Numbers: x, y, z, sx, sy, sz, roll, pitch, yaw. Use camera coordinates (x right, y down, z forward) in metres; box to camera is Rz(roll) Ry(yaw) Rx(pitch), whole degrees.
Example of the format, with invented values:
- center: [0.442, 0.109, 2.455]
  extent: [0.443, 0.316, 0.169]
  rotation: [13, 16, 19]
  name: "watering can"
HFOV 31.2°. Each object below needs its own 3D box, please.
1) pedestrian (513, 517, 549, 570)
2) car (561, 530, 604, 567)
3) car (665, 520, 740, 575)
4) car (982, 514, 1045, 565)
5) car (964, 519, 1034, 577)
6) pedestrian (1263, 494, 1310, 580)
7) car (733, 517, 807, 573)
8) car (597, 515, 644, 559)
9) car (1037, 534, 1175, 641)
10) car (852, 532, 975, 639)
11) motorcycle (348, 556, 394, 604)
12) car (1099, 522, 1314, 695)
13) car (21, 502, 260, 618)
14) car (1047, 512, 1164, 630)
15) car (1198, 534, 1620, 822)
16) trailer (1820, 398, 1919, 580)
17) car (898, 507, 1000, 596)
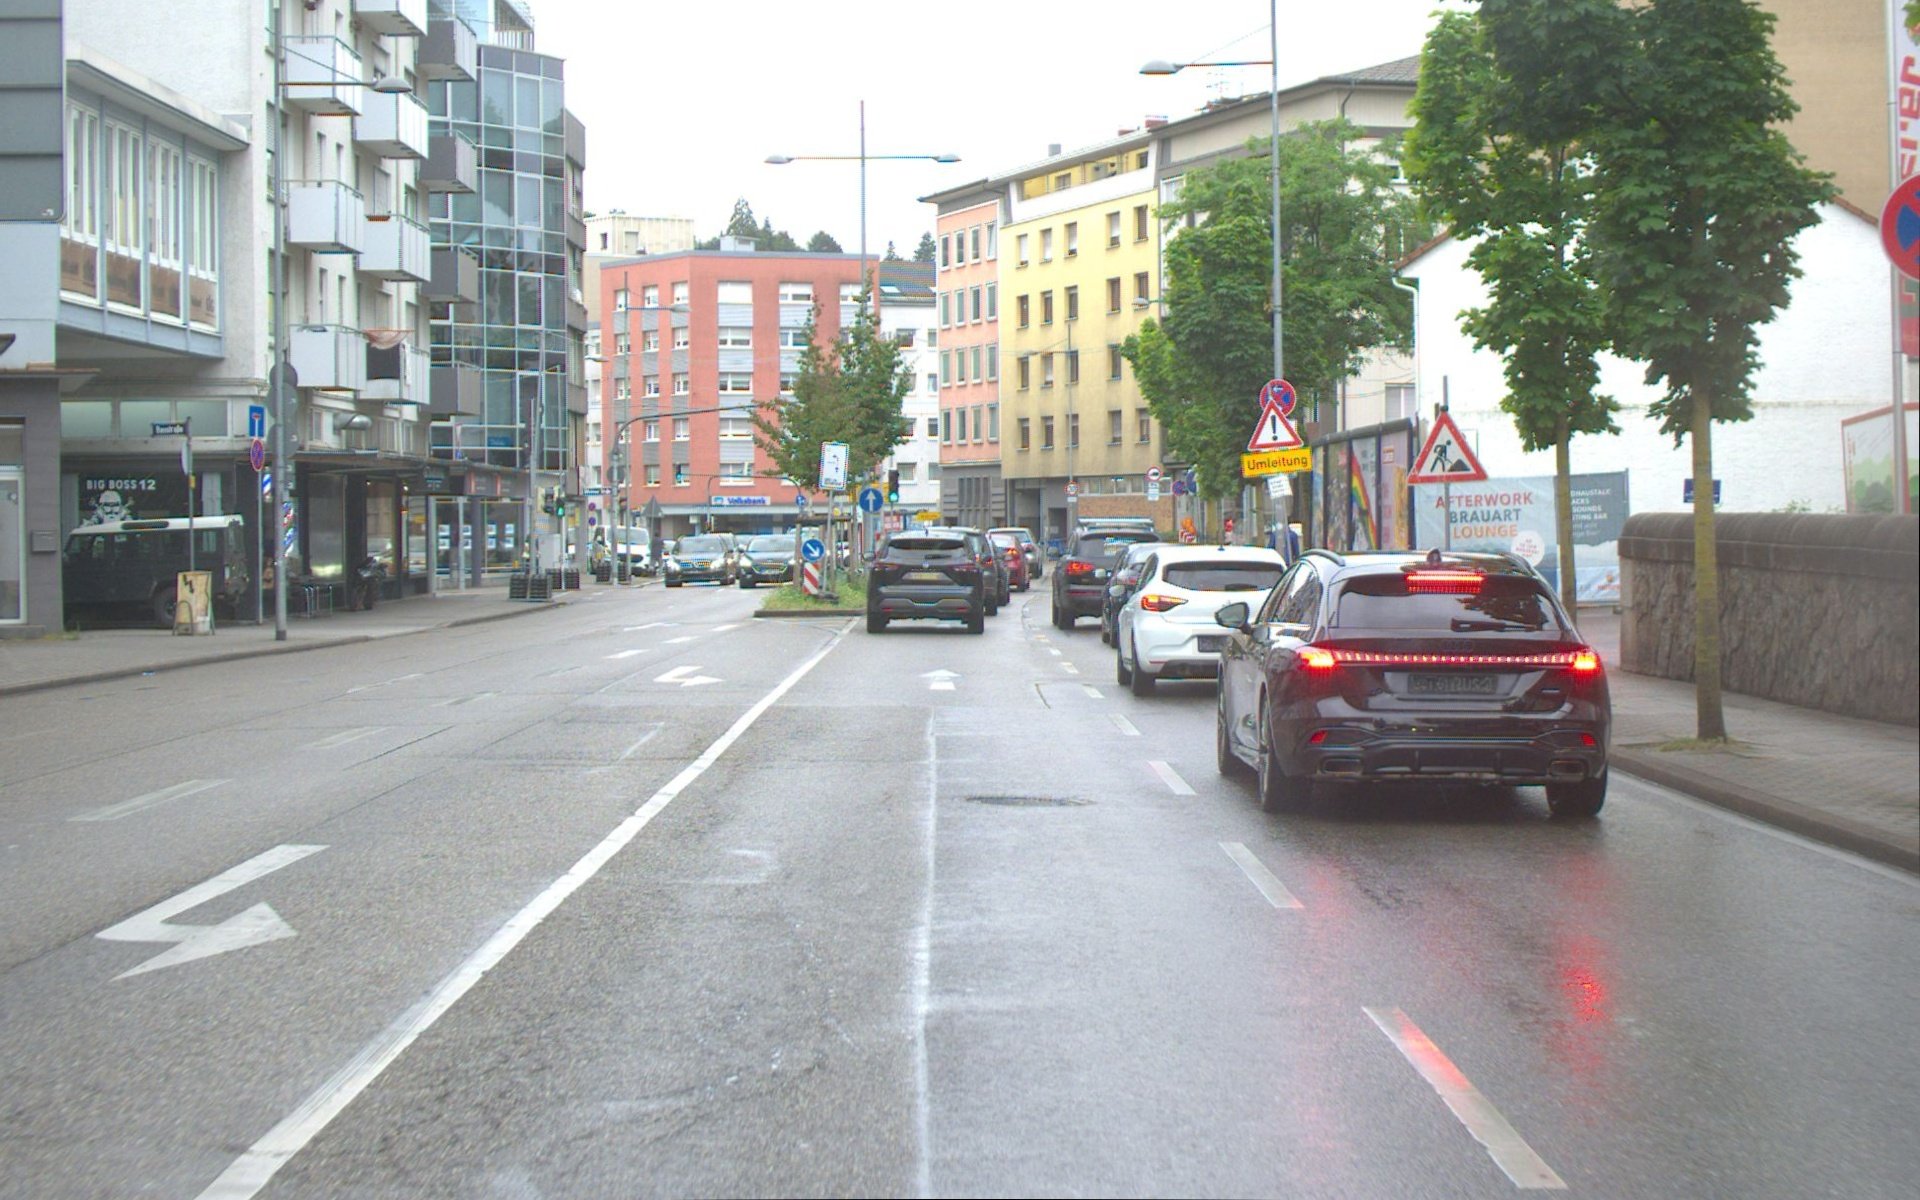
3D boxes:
- center: [-13.231, -1.740, 106.062]
  extent: [0.781, 1.585, 0.763]
  rotation: [-3, 2, -36]
  name: "pedestrian"
- center: [-15.394, -2.104, 140.212]
  extent: [1.455, 1.425, 3.371]
  rotation: [1, 2, -11]
  name: "car"
- center: [-7.558, -1.557, 101.264]
  extent: [1.708, 1.463, 4.829]
  rotation: [-4, 1, 1]
  name: "car"
- center: [1.511, -1.748, 98.348]
  extent: [1.641, 1.376, 3.348]
  rotation: [-2, 1, -1]
  name: "car"
- center: [0.972, -1.325, 86.830]
  extent: [1.641, 1.376, 3.348]
  rotation: [-2, 1, -1]
  name: "car"
- center: [6.753, -1.305, 71.064]
  extent: [0.792, 1.749, 0.871]
  rotation: [-2, 1, 14]
  name: "pedestrian"
- center: [-5.261, -1.550, 95.414]
  extent: [1.720, 1.418, 4.165]
  rotation: [-3, 1, 0]
  name: "car"
- center: [-12.700, -2.356, 128.621]
  extent: [1.549, 1.565, 3.349]
  rotation: [1, 1, -9]
  name: "car"
- center: [2.045, -0.200, 47.248]
  extent: [1.787, 1.395, 3.718]
  rotation: [0, 1, 4]
  name: "car"
- center: [-0.704, -0.260, 54.370]
  extent: [1.823, 1.595, 3.719]
  rotation: [1, 1, 1]
  name: "car"
- center: [-12.532, -0.434, 73.181]
  extent: [0.525, 0.992, 2.136]
  rotation: [1, 1, 2]
  name: "motorcycle"
- center: [2.352, 0.034, 33.659]
  extent: [1.665, 1.391, 3.867]
  rotation: [-5, 2, -1]
  name: "car"
- center: [-14.994, -0.737, 63.008]
  extent: [3.963, 2.027, 1.580]
  rotation: [-1, 1, 1]
  name: "car"
- center: [2.395, -0.510, 56.875]
  extent: [1.830, 1.799, 3.719]
  rotation: [1, 2, 2]
  name: "car"
- center: [2.480, 0.359, 20.064]
  extent: [1.789, 1.398, 4.634]
  rotation: [-2, 2, 0]
  name: "car"
- center: [15.223, -1.806, 54.049]
  extent: [2.127, 2.707, 5.391]
  rotation: [-3, 2, 3]
  name: "trailer"
- center: [-0.175, -0.926, 64.518]
  extent: [1.823, 1.595, 3.719]
  rotation: [1, 1, 1]
  name: "car"
